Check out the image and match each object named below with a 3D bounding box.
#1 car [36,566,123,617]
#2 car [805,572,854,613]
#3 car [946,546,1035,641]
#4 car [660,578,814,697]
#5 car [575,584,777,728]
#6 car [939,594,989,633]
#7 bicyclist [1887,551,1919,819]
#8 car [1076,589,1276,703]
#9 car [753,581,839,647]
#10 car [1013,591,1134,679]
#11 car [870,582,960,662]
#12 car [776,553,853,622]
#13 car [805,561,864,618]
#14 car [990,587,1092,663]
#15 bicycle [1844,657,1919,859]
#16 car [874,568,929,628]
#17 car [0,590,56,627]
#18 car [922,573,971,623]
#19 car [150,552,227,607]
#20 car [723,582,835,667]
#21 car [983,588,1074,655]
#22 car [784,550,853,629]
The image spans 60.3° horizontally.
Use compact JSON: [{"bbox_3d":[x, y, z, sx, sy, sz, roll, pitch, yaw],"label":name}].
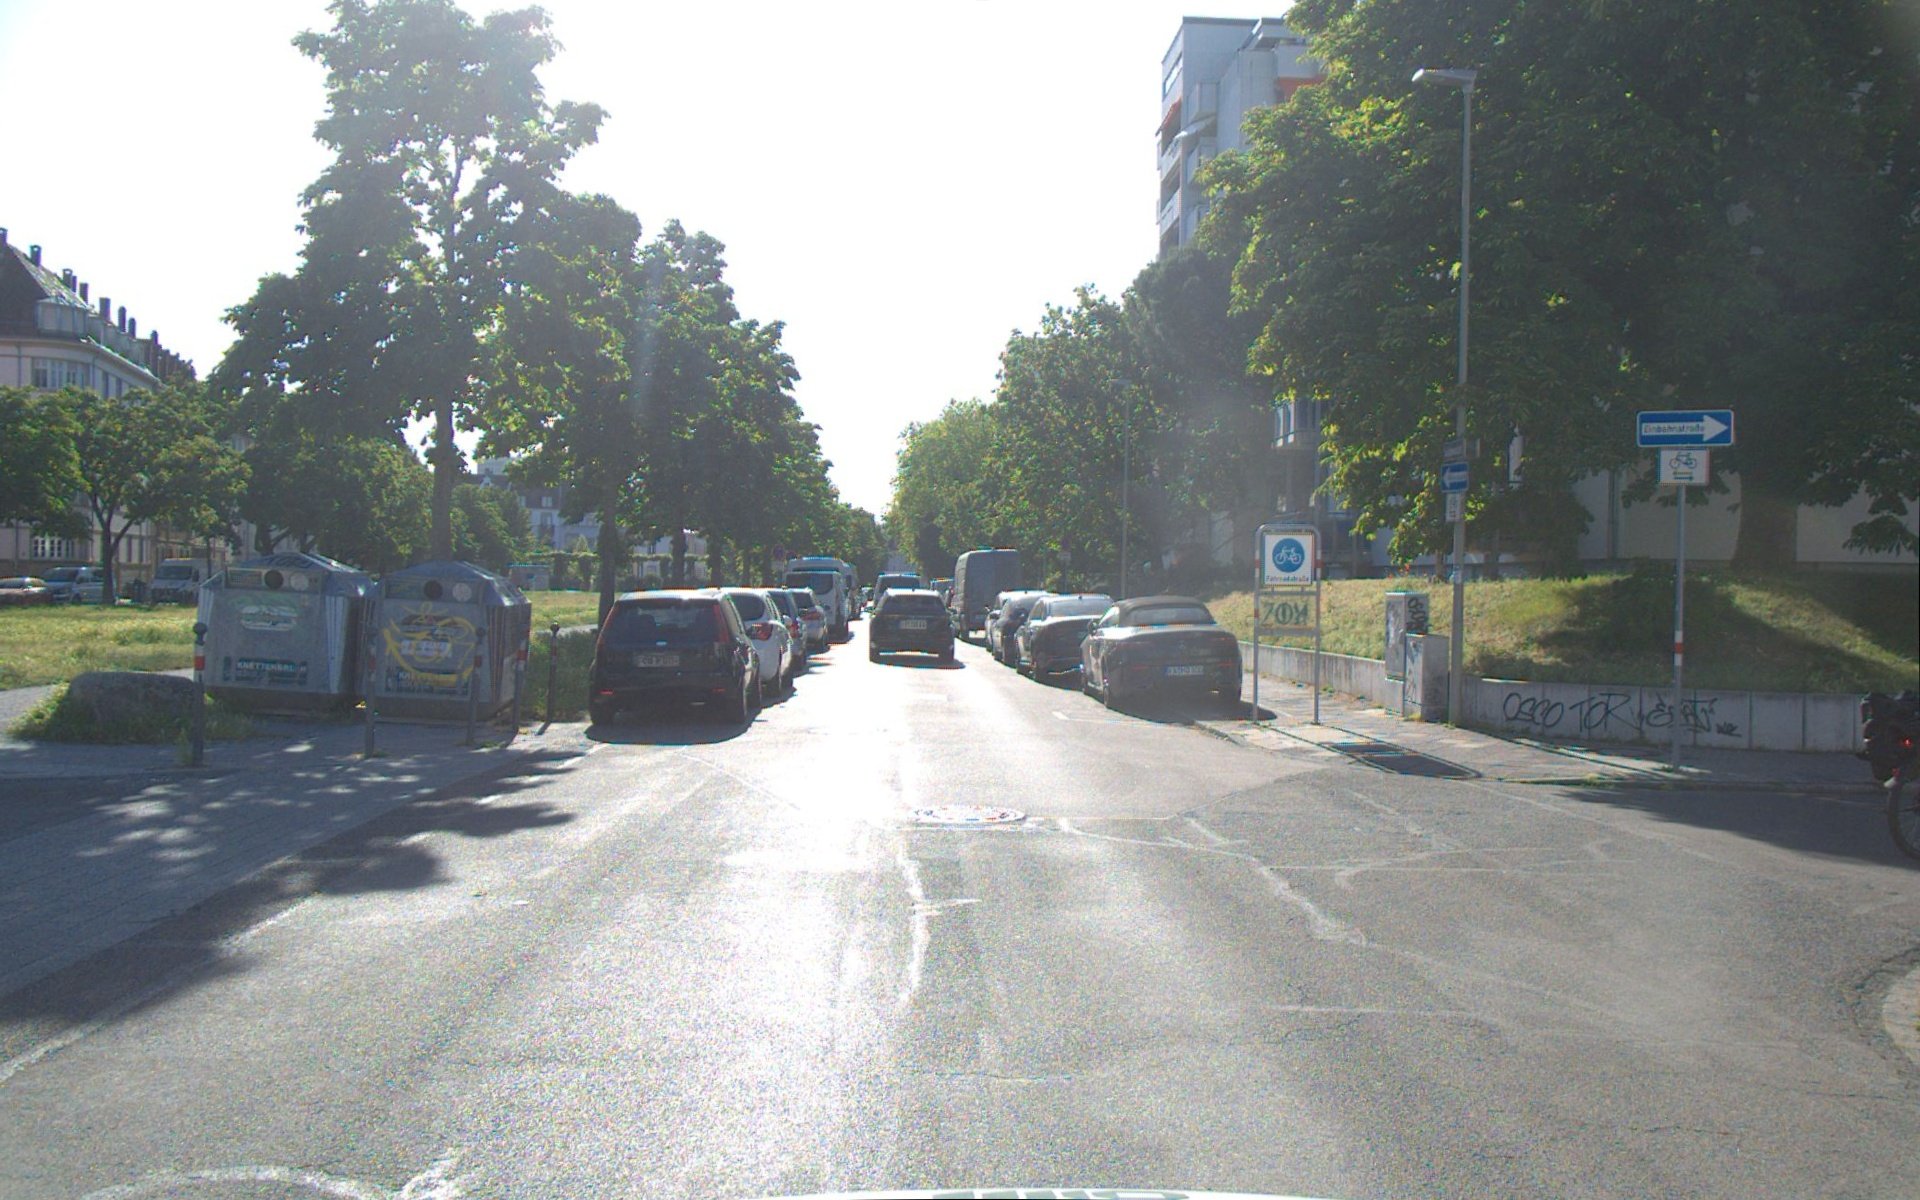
[{"bbox_3d":[-40.358,-0.403,75.969,1.661,2.252,5.003,1,0,-5],"label":"car"},{"bbox_3d":[-5.970,-0.364,76.002,1.969,1.817,4.126,0,0,-1],"label":"car"},{"bbox_3d":[0.870,-0.214,50.608,2.121,2.736,5.410,1,1,-5],"label":"car"},{"bbox_3d":[-3.101,0.491,23.703,1.741,1.521,3.874,-1,0,-1],"label":"car"},{"bbox_3d":[-3.173,0.590,19.178,1.713,1.449,3.915,-1,0,-1],"label":"car"},{"bbox_3d":[0.140,0.543,69.235,1.948,1.513,4.126,1,0,-1],"label":"car"},{"bbox_3d":[6.211,0.520,10.011,0.776,1.624,0.693,1,0,-16],"label":"bicyclist"},{"bbox_3d":[2.896,0.571,23.186,2.082,1.361,4.505,-2,1,-1],"label":"car"},{"bbox_3d":[-4.045,0.316,41.399,1.796,1.526,4.126,1,0,-1],"label":"car"},{"bbox_3d":[1.928,0.561,29.101,1.743,1.395,4.126,1,0,-1],"label":"car"},{"bbox_3d":[-0.941,0.420,35.028,1.743,1.558,3.999,2,0,-1],"label":"car"},{"bbox_3d":[-4.338,-0.373,49.854,2.056,1.976,4.125,1,0,-2],"label":"car"},{"bbox_3d":[-6.143,-0.516,81.658,2.563,2.691,6.113,1,0,-1],"label":"car"},{"bbox_3d":[1.677,0.498,35.468,1.744,1.513,4.029,1,1,-4],"label":"car"},{"bbox_3d":[6.346,0.936,10.064,1.731,1.147,0.660,1,0,-16],"label":"bicycle"},{"bbox_3d":[-2.027,-0.098,58.221,1.856,2.026,4.009,-1,1,-1],"label":"car"},{"bbox_3d":[-39.934,0.341,70.223,1.487,1.465,3.229,1,0,-5],"label":"car"},{"bbox_3d":[-0.689,-0.136,80.104,2.120,2.332,5.263,1,1,-3],"label":"car"},{"bbox_3d":[-41.174,-1.095,88.390,1.878,2.792,5.619,1,0,-5],"label":"car"},{"bbox_3d":[-3.394,0.418,31.624,1.743,1.487,4.126,1,0,-1],"label":"car"},{"bbox_3d":[1.629,0.493,40.528,1.948,1.513,4.126,1,0,-1],"label":"car"},{"bbox_3d":[-4.763,-0.370,56.250,2.056,2.540,4.126,1,0,-1],"label":"car"}]
